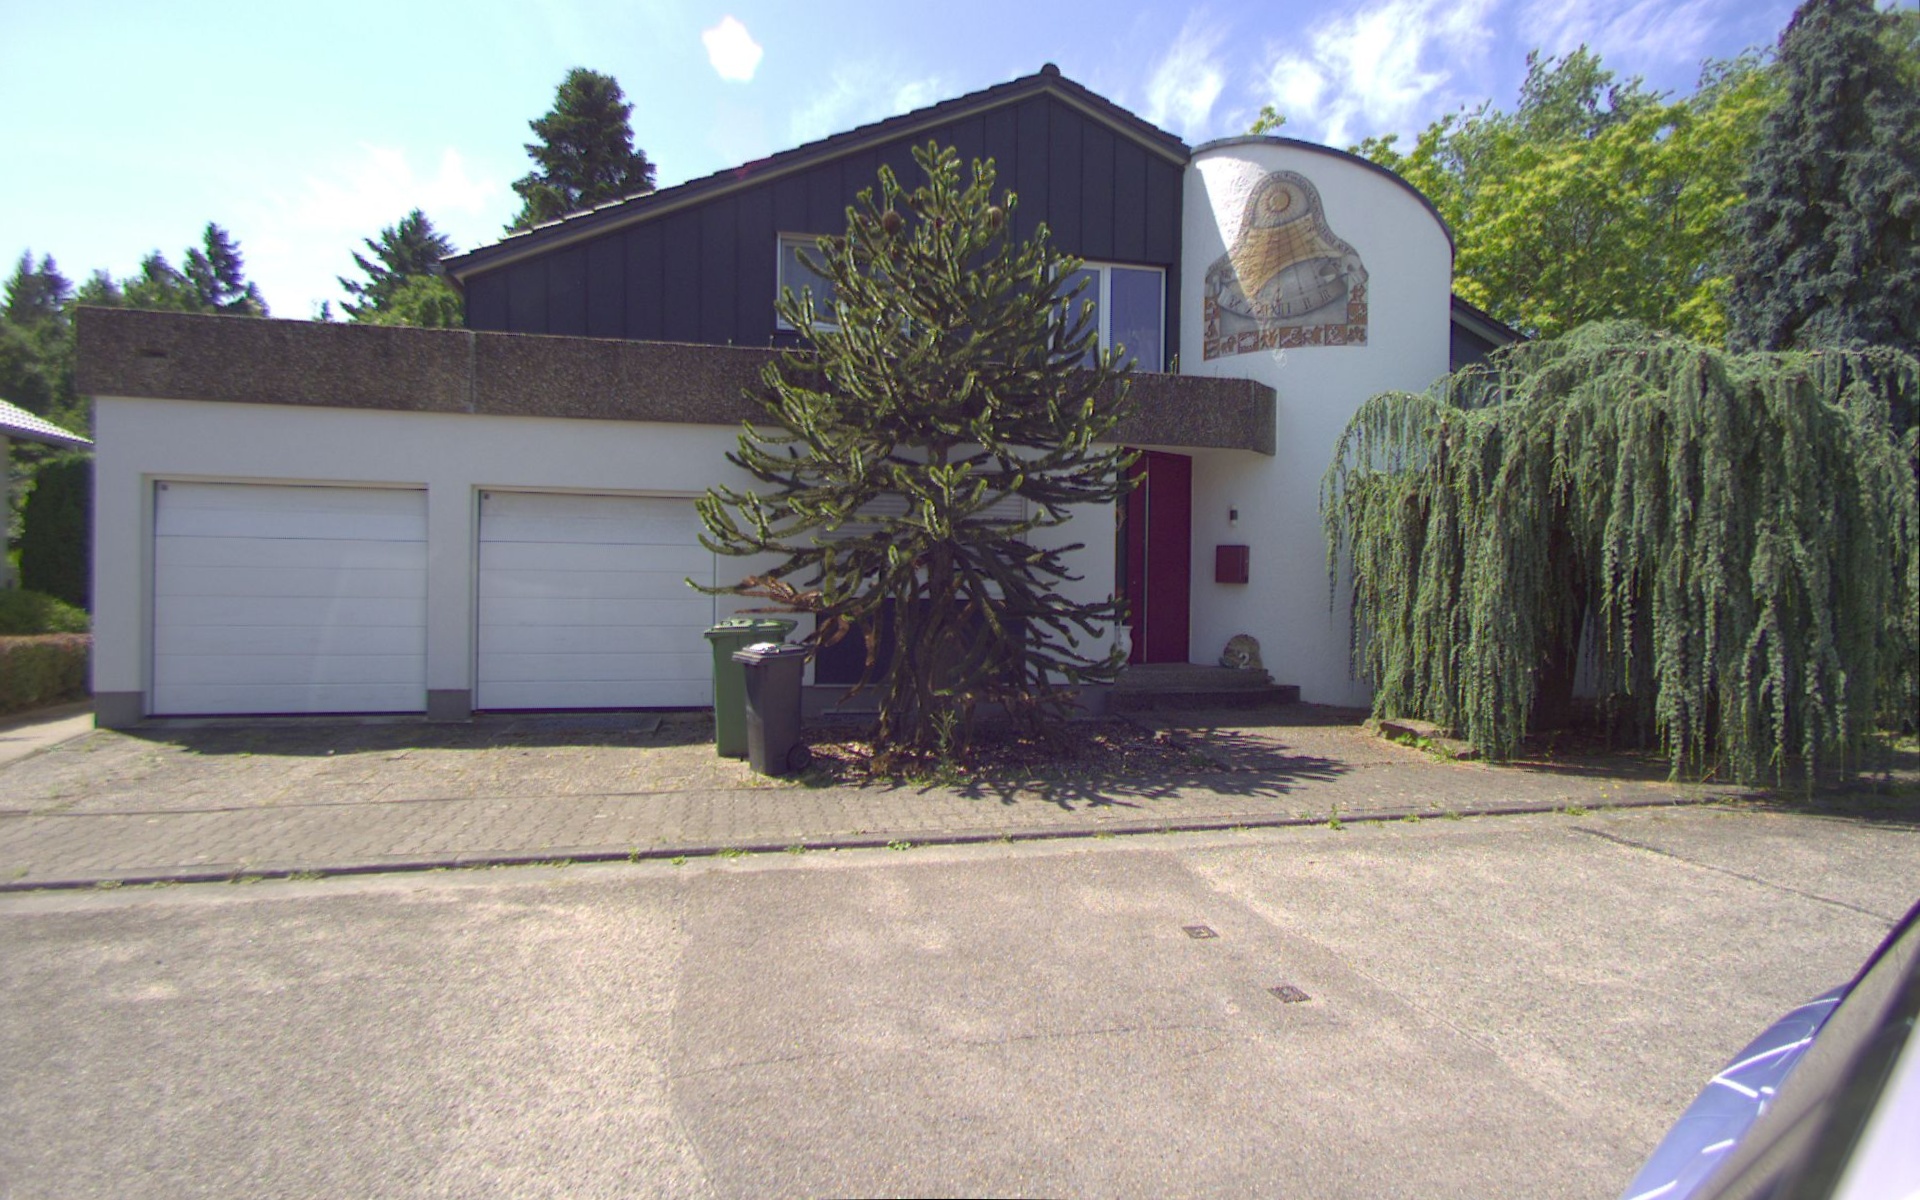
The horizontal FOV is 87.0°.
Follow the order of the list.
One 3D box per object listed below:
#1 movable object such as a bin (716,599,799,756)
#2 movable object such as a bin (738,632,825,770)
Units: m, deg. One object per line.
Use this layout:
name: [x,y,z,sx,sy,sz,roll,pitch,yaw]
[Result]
movable object such as a bin: [-1.646,0.607,8.216,0.620,1.218,0.552,1,0,-12]
movable object such as a bin: [-1.329,0.730,7.533,0.514,0.962,0.389,1,0,-39]
